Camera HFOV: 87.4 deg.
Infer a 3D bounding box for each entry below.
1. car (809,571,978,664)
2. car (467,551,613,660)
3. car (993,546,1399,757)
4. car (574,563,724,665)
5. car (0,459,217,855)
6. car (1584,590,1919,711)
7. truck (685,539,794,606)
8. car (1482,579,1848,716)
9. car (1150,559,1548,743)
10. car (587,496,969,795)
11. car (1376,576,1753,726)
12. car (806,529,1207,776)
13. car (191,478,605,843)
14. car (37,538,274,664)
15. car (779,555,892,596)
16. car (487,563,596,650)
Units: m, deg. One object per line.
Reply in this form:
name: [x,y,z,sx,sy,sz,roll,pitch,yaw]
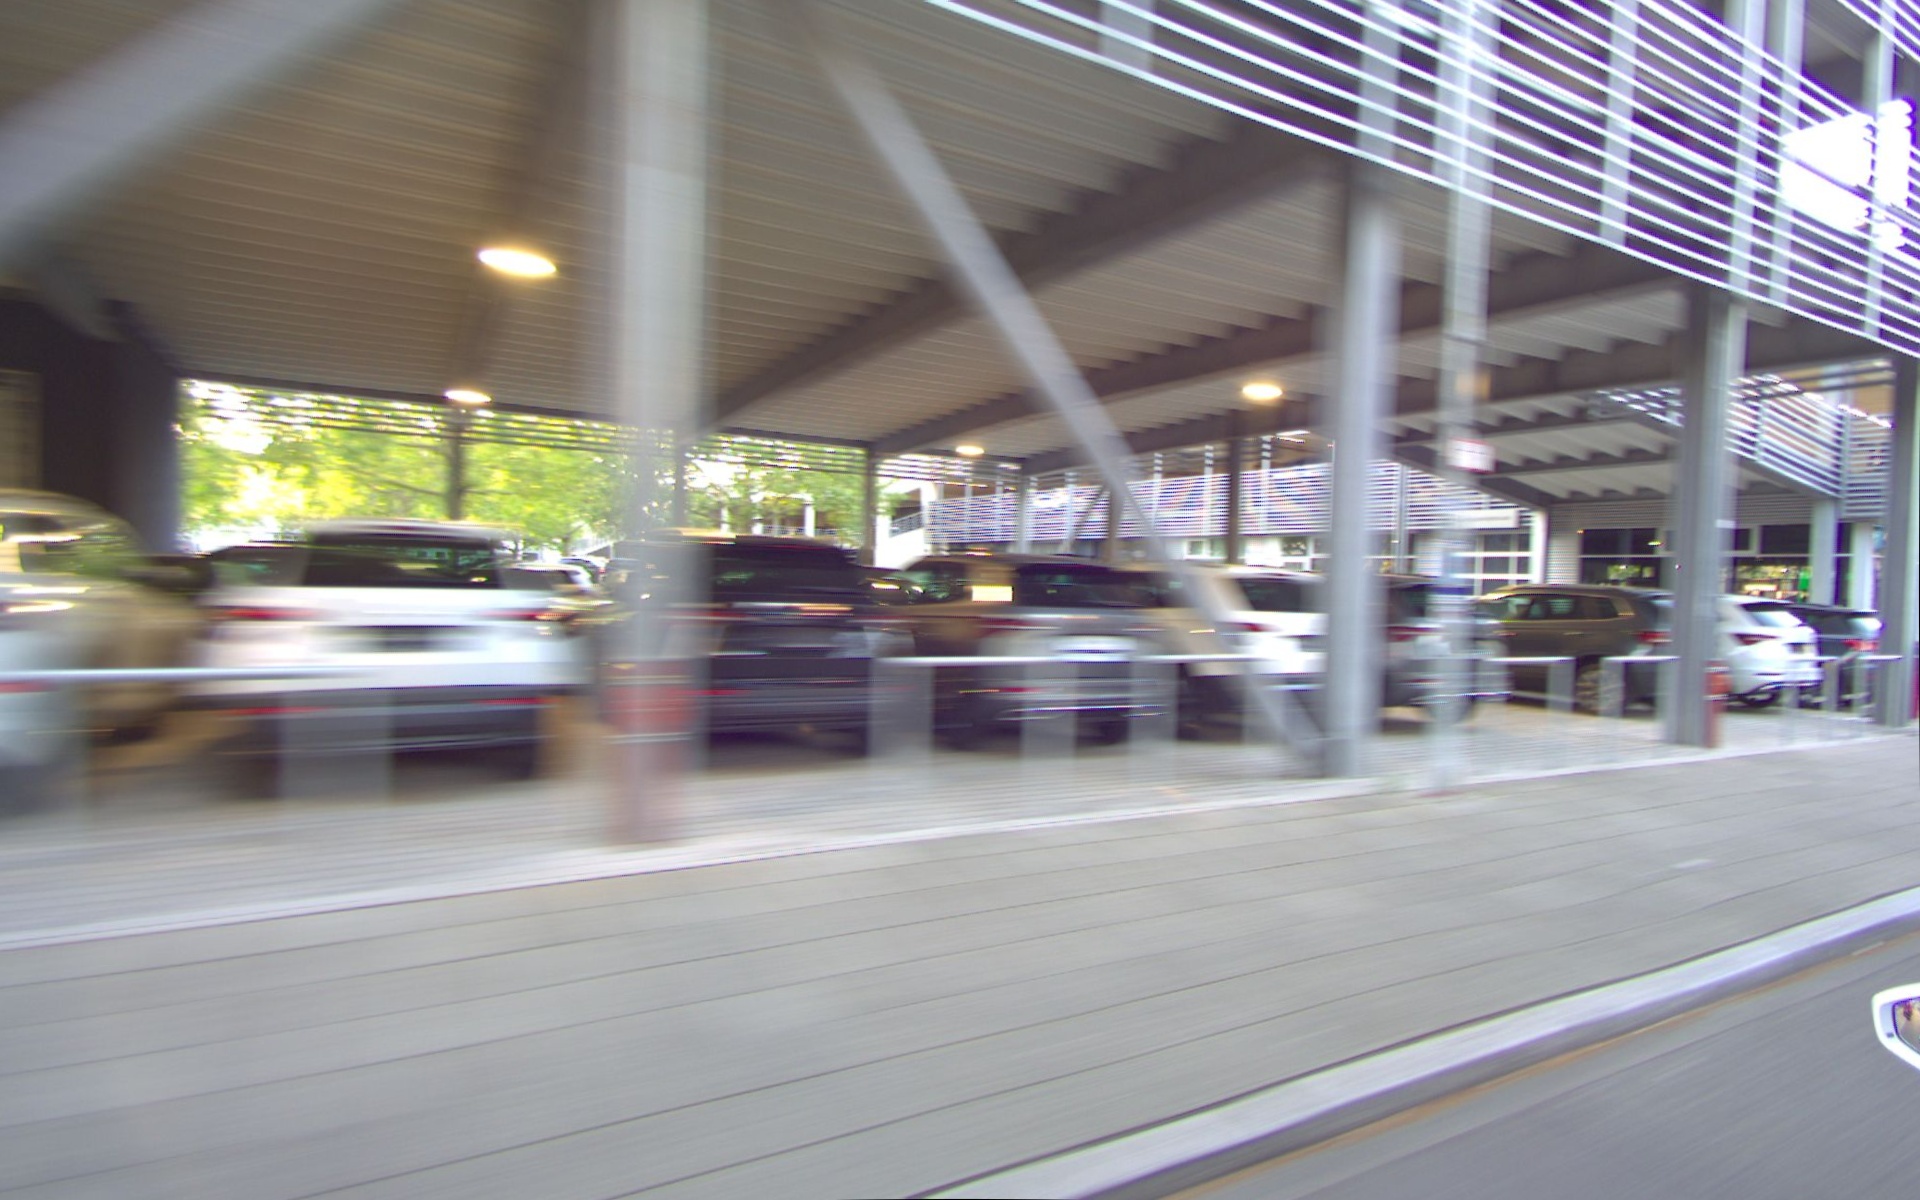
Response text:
car: [-1.418,0.259,19.776,1.837,1.618,4.018,0,2,-28]
car: [-6.974,0.021,16.432,1.837,1.541,4.188,0,2,-28]
car: [2.157,0.366,10.368,1.837,1.706,4.086,0,2,-28]
car: [-5.616,0.165,17.819,1.837,1.579,3.970,0,2,-28]
car: [-5.743,0.192,5.710,1.837,1.706,4.009,0,2,-28]
car: [12.579,0.718,16.081,1.839,1.607,3.966,3,0,-31]
truck: [-9.614,-1.214,43.272,2.417,2.603,6.878,1,2,-32]
car: [10.239,0.566,14.951,1.837,1.706,4.062,0,2,-28]
car: [4.192,0.423,11.531,1.837,1.706,4.047,0,2,-28]
car: [-1.711,0.210,7.988,1.837,1.706,4.086,0,2,-28]
car: [8.058,0.543,13.819,1.837,1.706,4.070,0,2,-28]
car: [0.145,0.312,9.165,1.837,1.706,4.086,0,2,-28]
car: [-3.729,0.233,6.934,1.837,1.706,4.066,0,2,-28]
car: [-11.182,-0.041,14.309,1.837,1.507,4.318,0,2,-28]
car: [-5.410,-1.064,43.907,4.341,1.595,2.283,1,2,-33]
car: [-9.156,0.078,21.800,1.837,1.706,4.007,0,2,-28]
